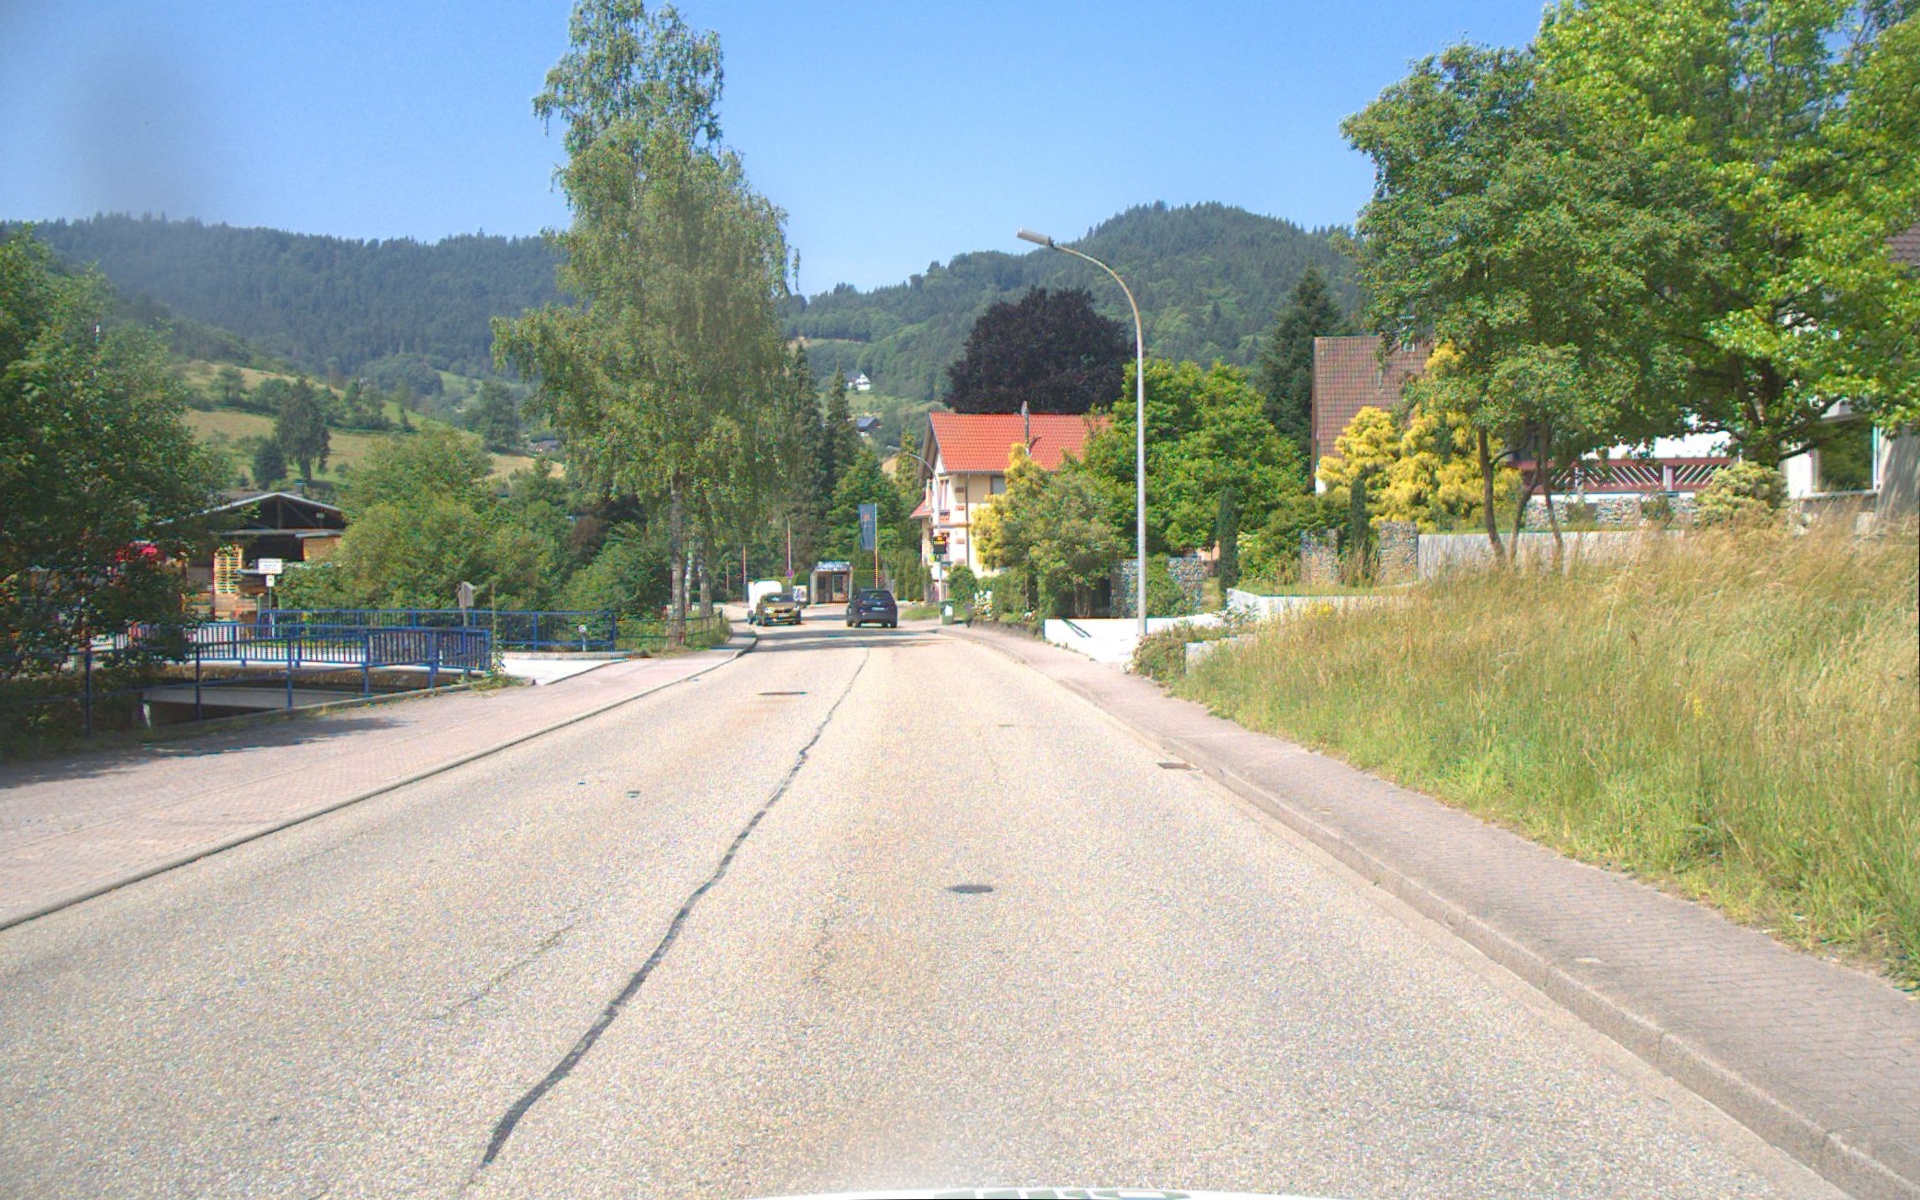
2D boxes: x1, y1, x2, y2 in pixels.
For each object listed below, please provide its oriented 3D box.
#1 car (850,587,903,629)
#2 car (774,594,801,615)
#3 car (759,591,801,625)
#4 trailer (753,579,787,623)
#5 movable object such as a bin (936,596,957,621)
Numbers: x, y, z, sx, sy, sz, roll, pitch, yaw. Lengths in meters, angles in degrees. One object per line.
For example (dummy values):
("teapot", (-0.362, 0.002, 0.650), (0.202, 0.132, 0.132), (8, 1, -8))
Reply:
("car", (-3.604, 0.324, 70.827), (1.884, 1.728, 3.781), (-2, 0, -8))
("car", (-10.718, 0.252, 102.819), (1.447, 1.230, 2.383), (-2, 1, -2))
("car", (-8.504, 0.370, 78.370), (1.777, 1.526, 4.146), (-2, 0, -4))
("trailer", (-9.555, 0.053, 83.263), (1.438, 2.114, 3.667), (-2, 0, -4))
("movable object such as a bin", (-0.592, 0.355, 70.780), (0.794, 1.060, 0.577), (-2, 1, -10))
